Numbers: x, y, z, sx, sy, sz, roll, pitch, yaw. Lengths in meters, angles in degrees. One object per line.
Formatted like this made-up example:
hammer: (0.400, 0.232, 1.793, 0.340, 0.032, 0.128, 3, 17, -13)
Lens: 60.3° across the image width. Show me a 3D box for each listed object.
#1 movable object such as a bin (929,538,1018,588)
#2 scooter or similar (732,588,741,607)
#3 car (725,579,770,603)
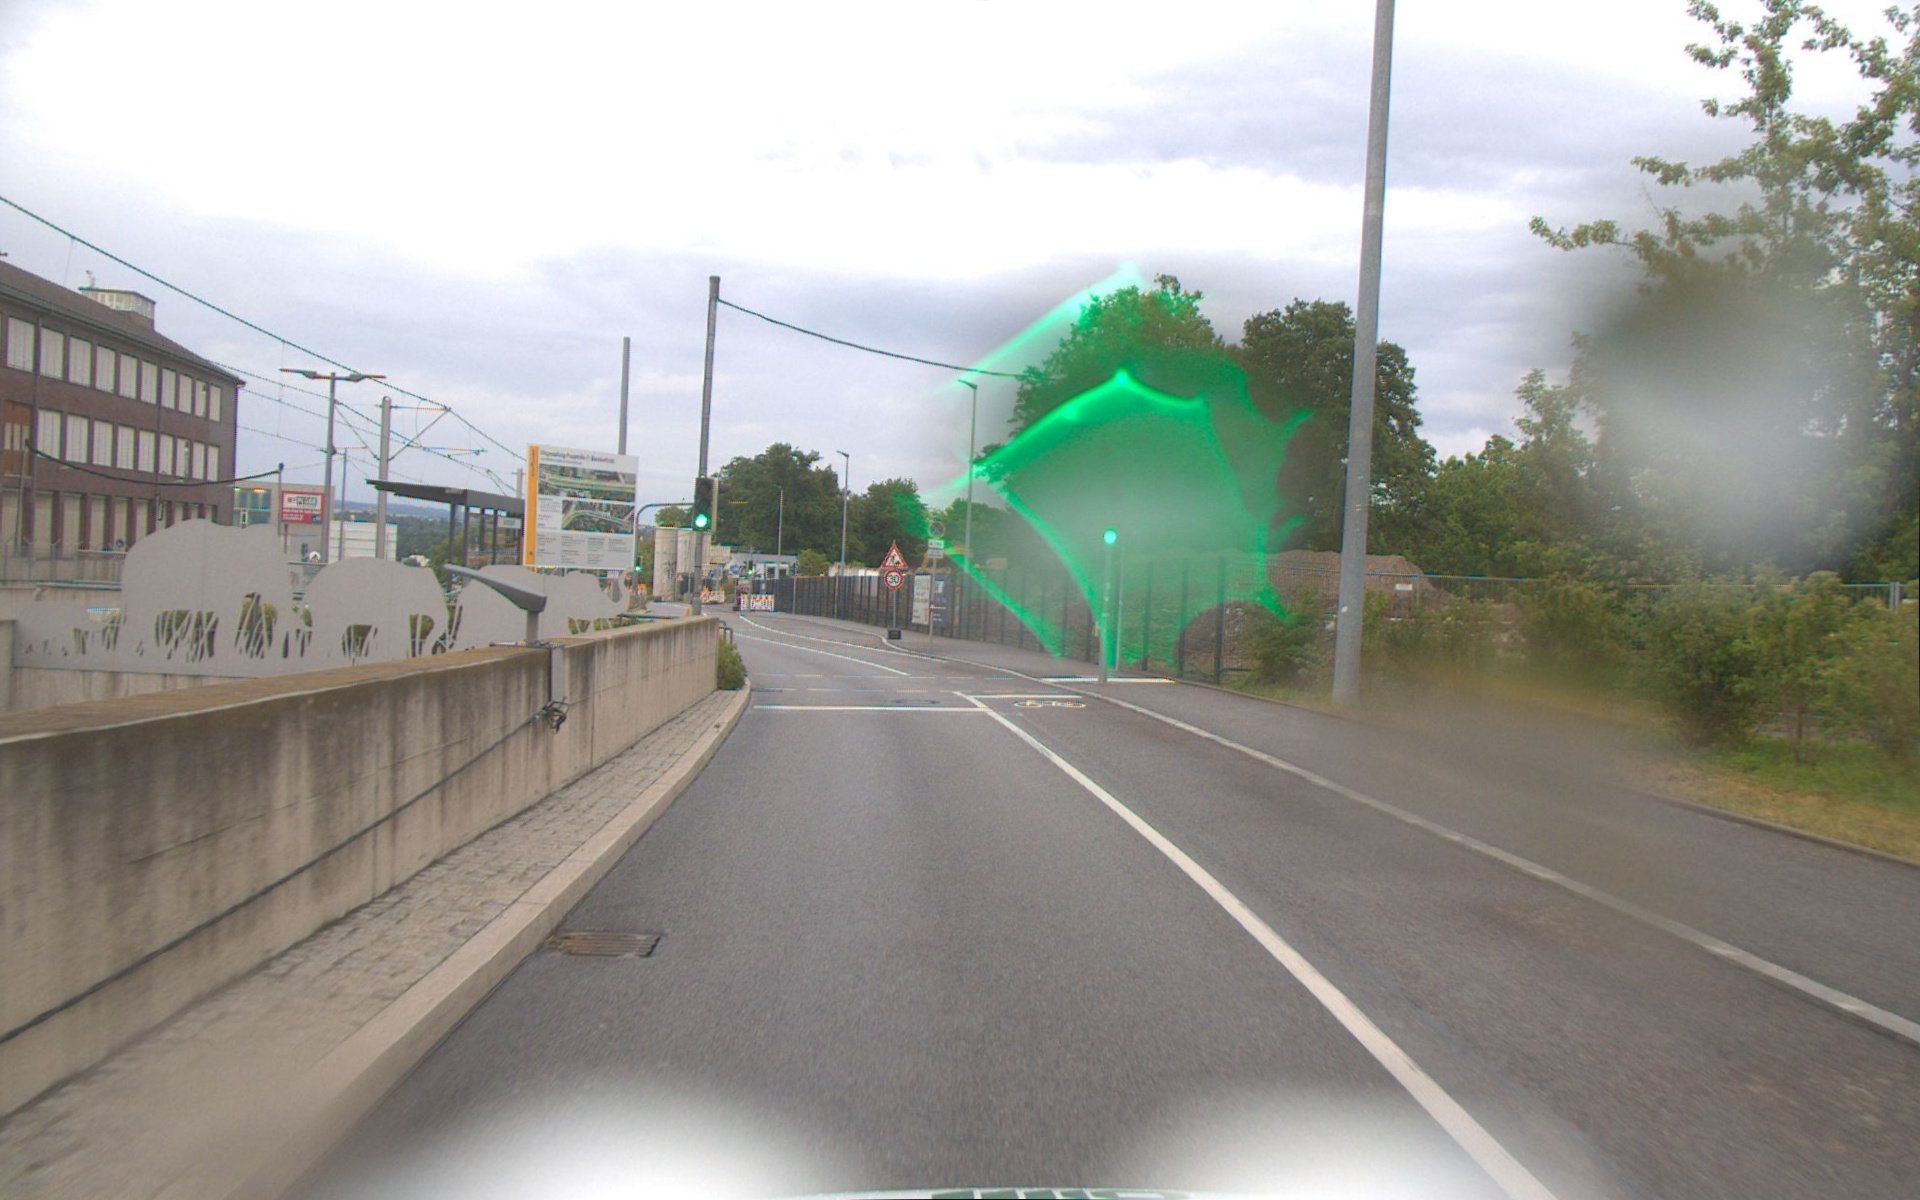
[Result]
movable object such as a bin: (1.702, -4.660, 212.050, 11.013, 6.100, 3.487, 1, 0, -6)
scooter or similar: (-16.665, -0.218, 123.313, 0.603, 1.375, 1.909, 1, 0, -7)
car: (-16.571, -0.697, 129.384, 1.781, 1.825, 4.411, 2, 0, 18)
